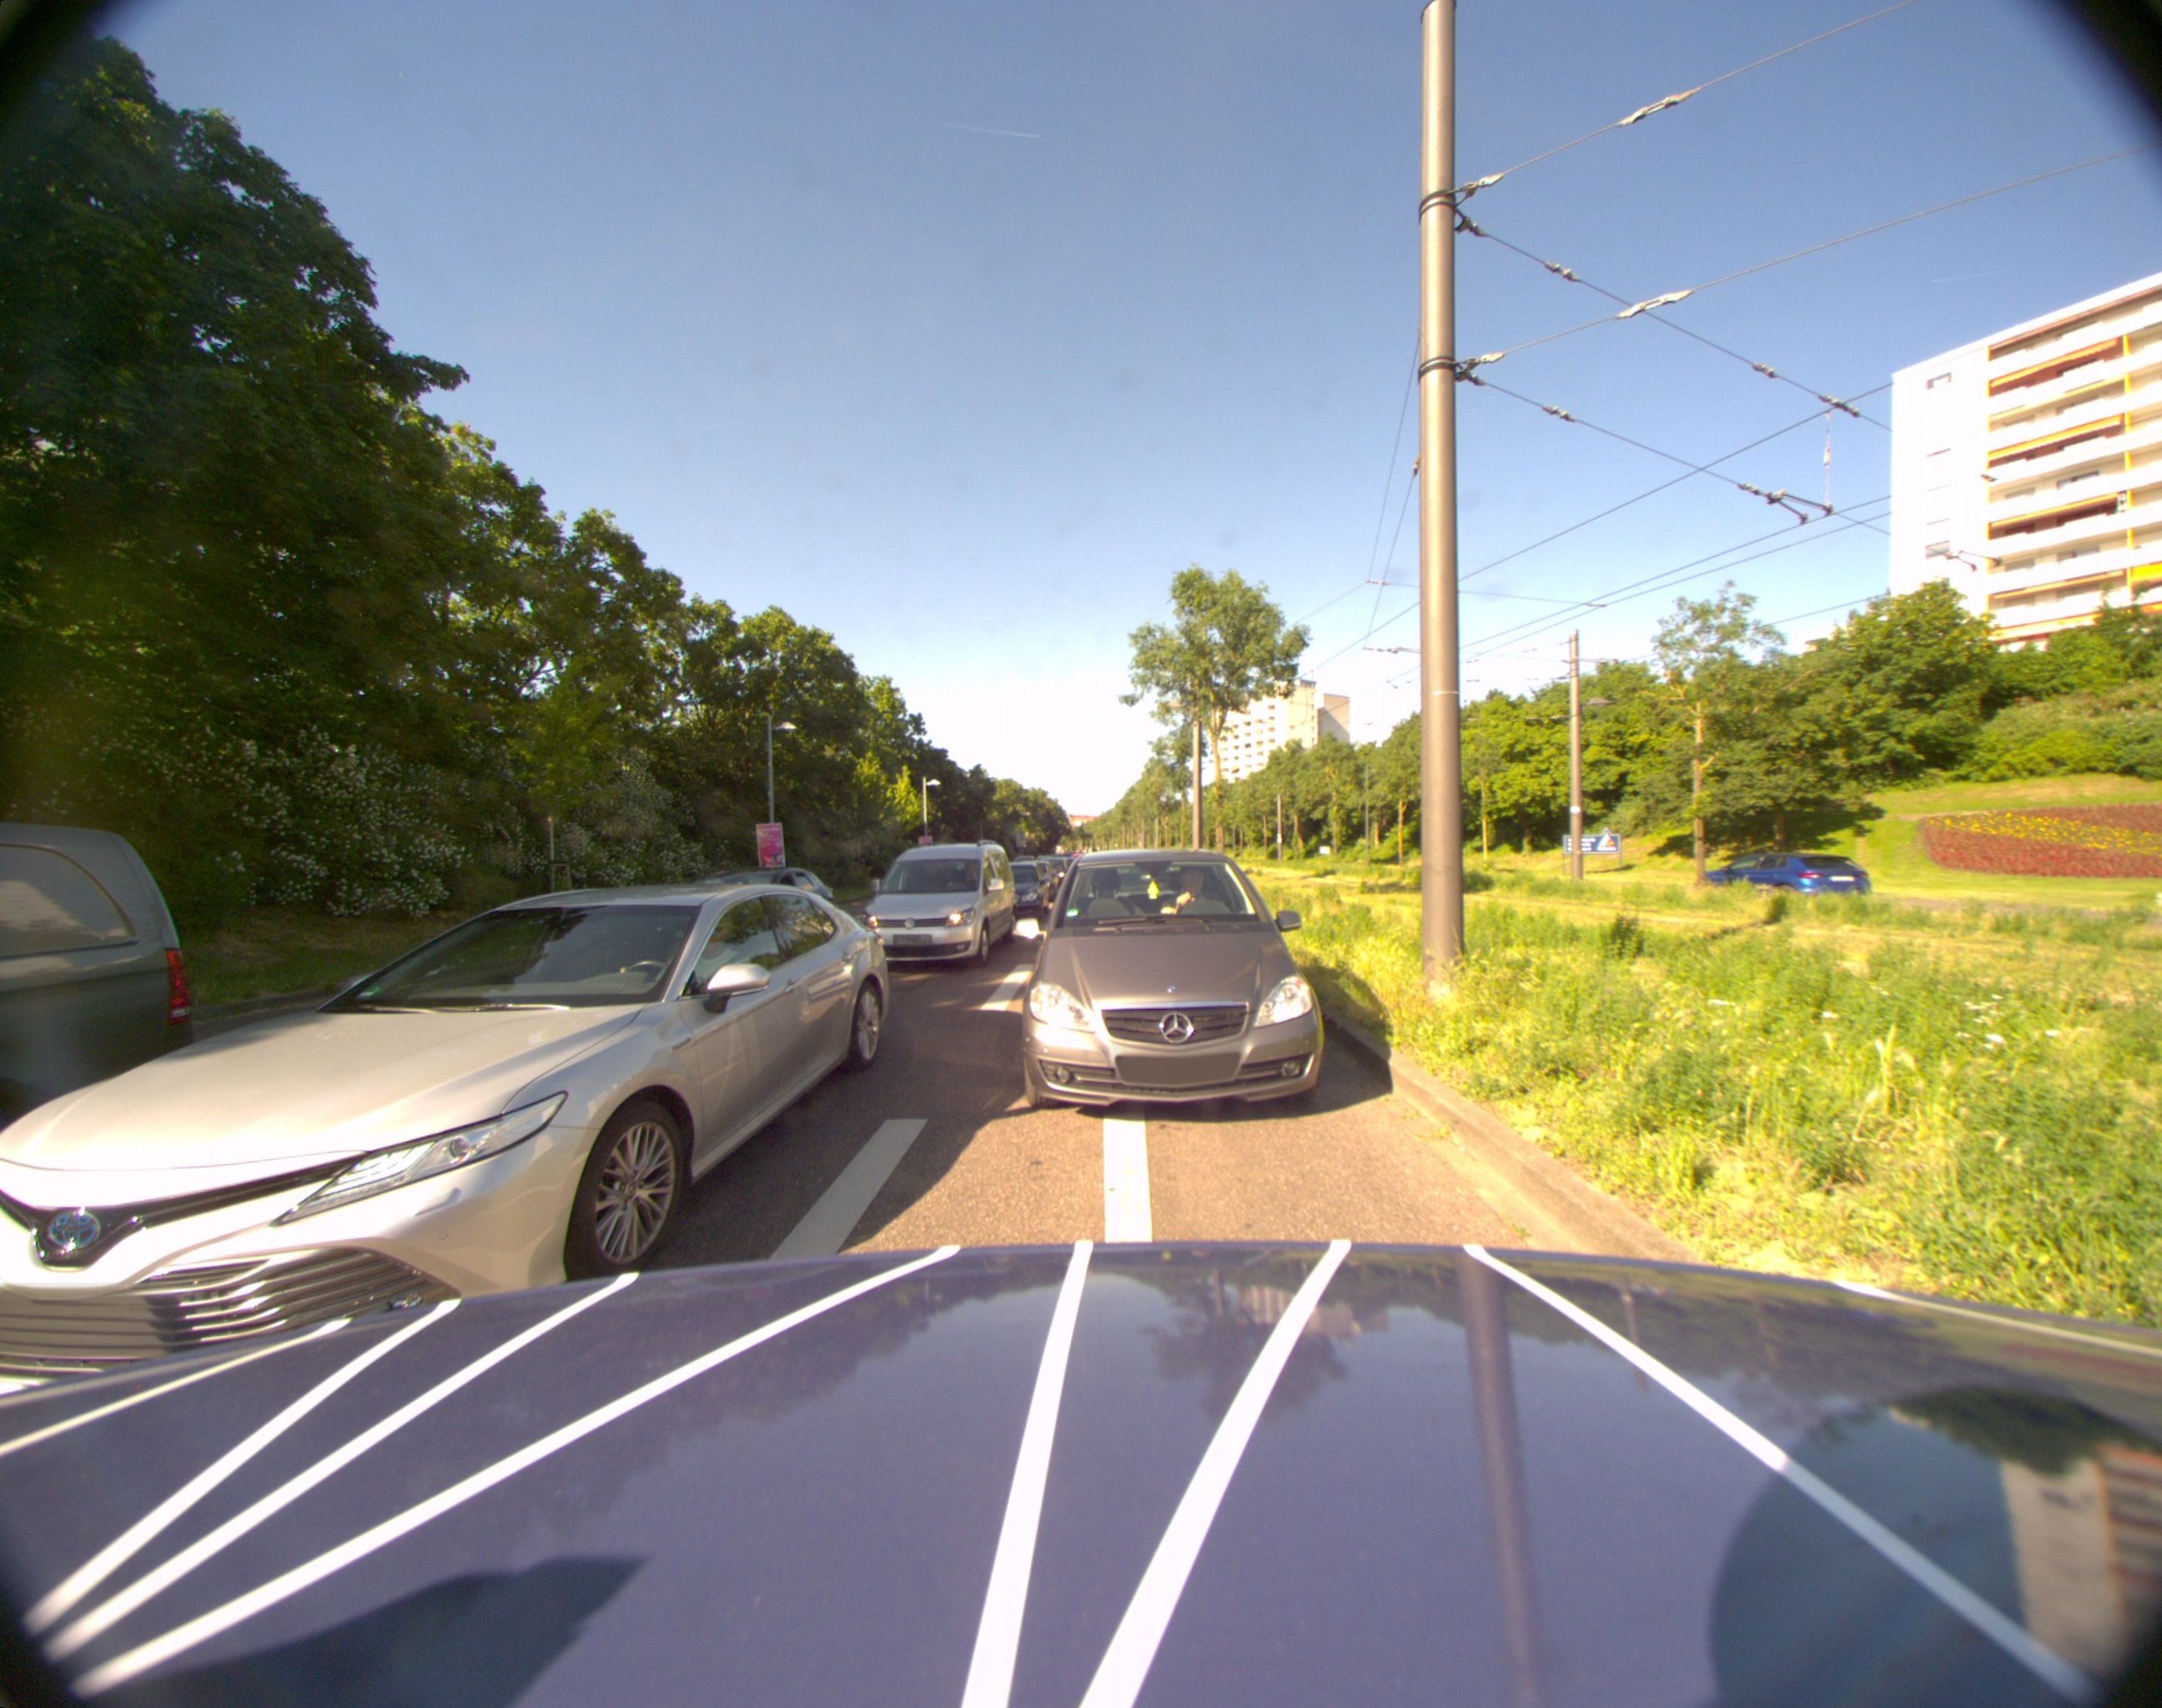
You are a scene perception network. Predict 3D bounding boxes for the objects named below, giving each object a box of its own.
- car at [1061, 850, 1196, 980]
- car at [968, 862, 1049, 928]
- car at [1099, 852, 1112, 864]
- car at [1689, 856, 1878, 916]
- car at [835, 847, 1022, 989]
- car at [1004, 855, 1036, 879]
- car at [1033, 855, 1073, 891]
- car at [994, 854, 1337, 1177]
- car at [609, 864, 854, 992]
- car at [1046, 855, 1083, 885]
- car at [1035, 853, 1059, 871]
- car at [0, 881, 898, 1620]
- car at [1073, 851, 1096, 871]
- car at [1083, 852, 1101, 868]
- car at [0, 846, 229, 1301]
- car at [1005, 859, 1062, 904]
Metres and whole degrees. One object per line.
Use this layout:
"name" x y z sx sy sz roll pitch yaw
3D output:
"car" 0.665 0.804 12.159 1.749 1.652 3.999 -2 1 1
"car" -1.749 0.967 19.552 1.717 1.445 4.197 -1 0 -1
"car" 3.544 0.577 109.791 1.749 1.652 4.000 -1 0 1
"car" 18.793 0.791 20.588 1.578 1.412 3.909 -1 0 1
"car" -2.187 0.827 12.251 1.808 1.811 4.587 -2 1 3
"car" -4.168 0.862 52.392 1.713 1.485 3.963 -2 0 1
"car" -1.252 0.846 34.909 1.621 1.485 3.452 -2 1 0
"car" 0.472 0.855 6.004 1.749 1.630 4.000 -2 0 1
"car" -5.199 1.001 12.042 1.772 1.499 4.225 -2 1 2
"car" -0.807 0.790 39.926 1.713 1.430 4.171 -2 0 1
"car" -3.037 0.697 68.733 1.749 1.427 4.386 -2 1 2
"car" -2.545 1.005 4.068 1.809 1.484 4.682 -2 0 2
"car" 0.276 0.526 61.004 1.685 1.437 3.727 -2 1 2
"car" 1.084 0.525 74.148 1.685 1.437 3.727 -2 1 2
"car" -5.366 0.903 1.344 1.808 1.841 5.103 0 0 3
"car" -1.634 0.939 27.342 1.723 1.411 4.050 -1 0 1
